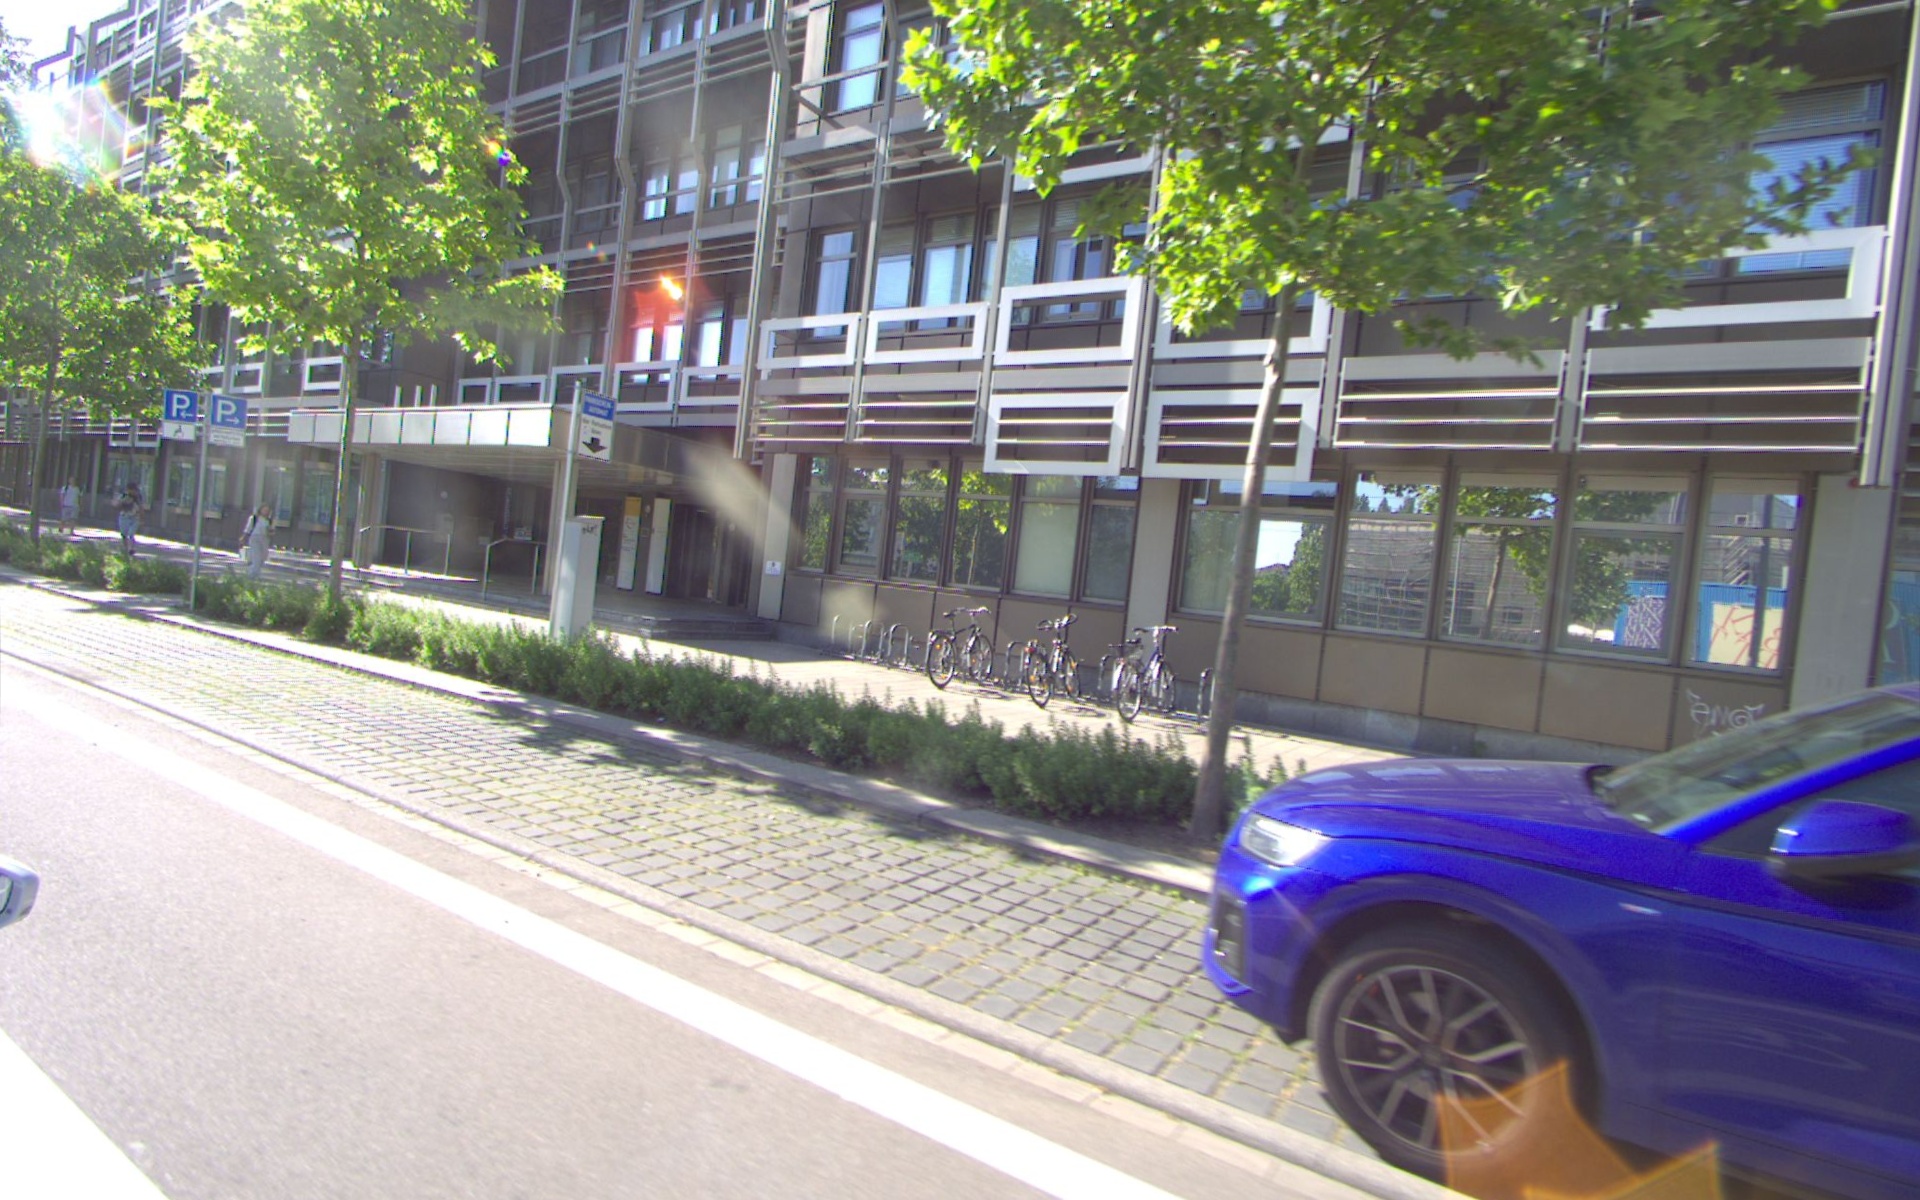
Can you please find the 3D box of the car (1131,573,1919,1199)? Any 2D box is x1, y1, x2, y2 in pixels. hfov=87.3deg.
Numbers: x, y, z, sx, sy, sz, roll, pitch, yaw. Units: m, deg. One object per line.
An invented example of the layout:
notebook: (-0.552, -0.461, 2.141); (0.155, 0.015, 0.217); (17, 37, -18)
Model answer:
car: (3.160, 1.014, 2.982); (4.768, 1.679, 1.850); (7, 2, 32)

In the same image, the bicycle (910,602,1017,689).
bicycle: (0.078, 0.626, 14.079); (0.420, 1.112, 1.856); (7, 3, 35)

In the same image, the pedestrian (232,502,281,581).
pedestrian: (-14.048, -1.162, 20.089); (0.724, 1.494, 0.510); (7, 3, 34)

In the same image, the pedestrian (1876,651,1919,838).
pedestrian: (8.843, 1.318, 9.037); (0.663, 1.645, 0.510); (7, 4, 34)

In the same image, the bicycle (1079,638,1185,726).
bicycle: (2.115, 0.957, 12.191); (0.420, 0.951, 1.856); (7, 3, 35)

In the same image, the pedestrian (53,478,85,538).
pedestrian: (-27.249, -2.813, 30.766); (0.761, 1.724, 0.510); (7, 4, 34)

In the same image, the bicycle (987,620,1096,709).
bicycle: (1.074, 0.807, 12.877); (0.420, 1.024, 1.856); (7, 3, 35)

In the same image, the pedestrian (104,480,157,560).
pedestrian: (-19.443, -1.875, 23.574); (0.790, 1.749, 0.648); (7, 1, 34)
